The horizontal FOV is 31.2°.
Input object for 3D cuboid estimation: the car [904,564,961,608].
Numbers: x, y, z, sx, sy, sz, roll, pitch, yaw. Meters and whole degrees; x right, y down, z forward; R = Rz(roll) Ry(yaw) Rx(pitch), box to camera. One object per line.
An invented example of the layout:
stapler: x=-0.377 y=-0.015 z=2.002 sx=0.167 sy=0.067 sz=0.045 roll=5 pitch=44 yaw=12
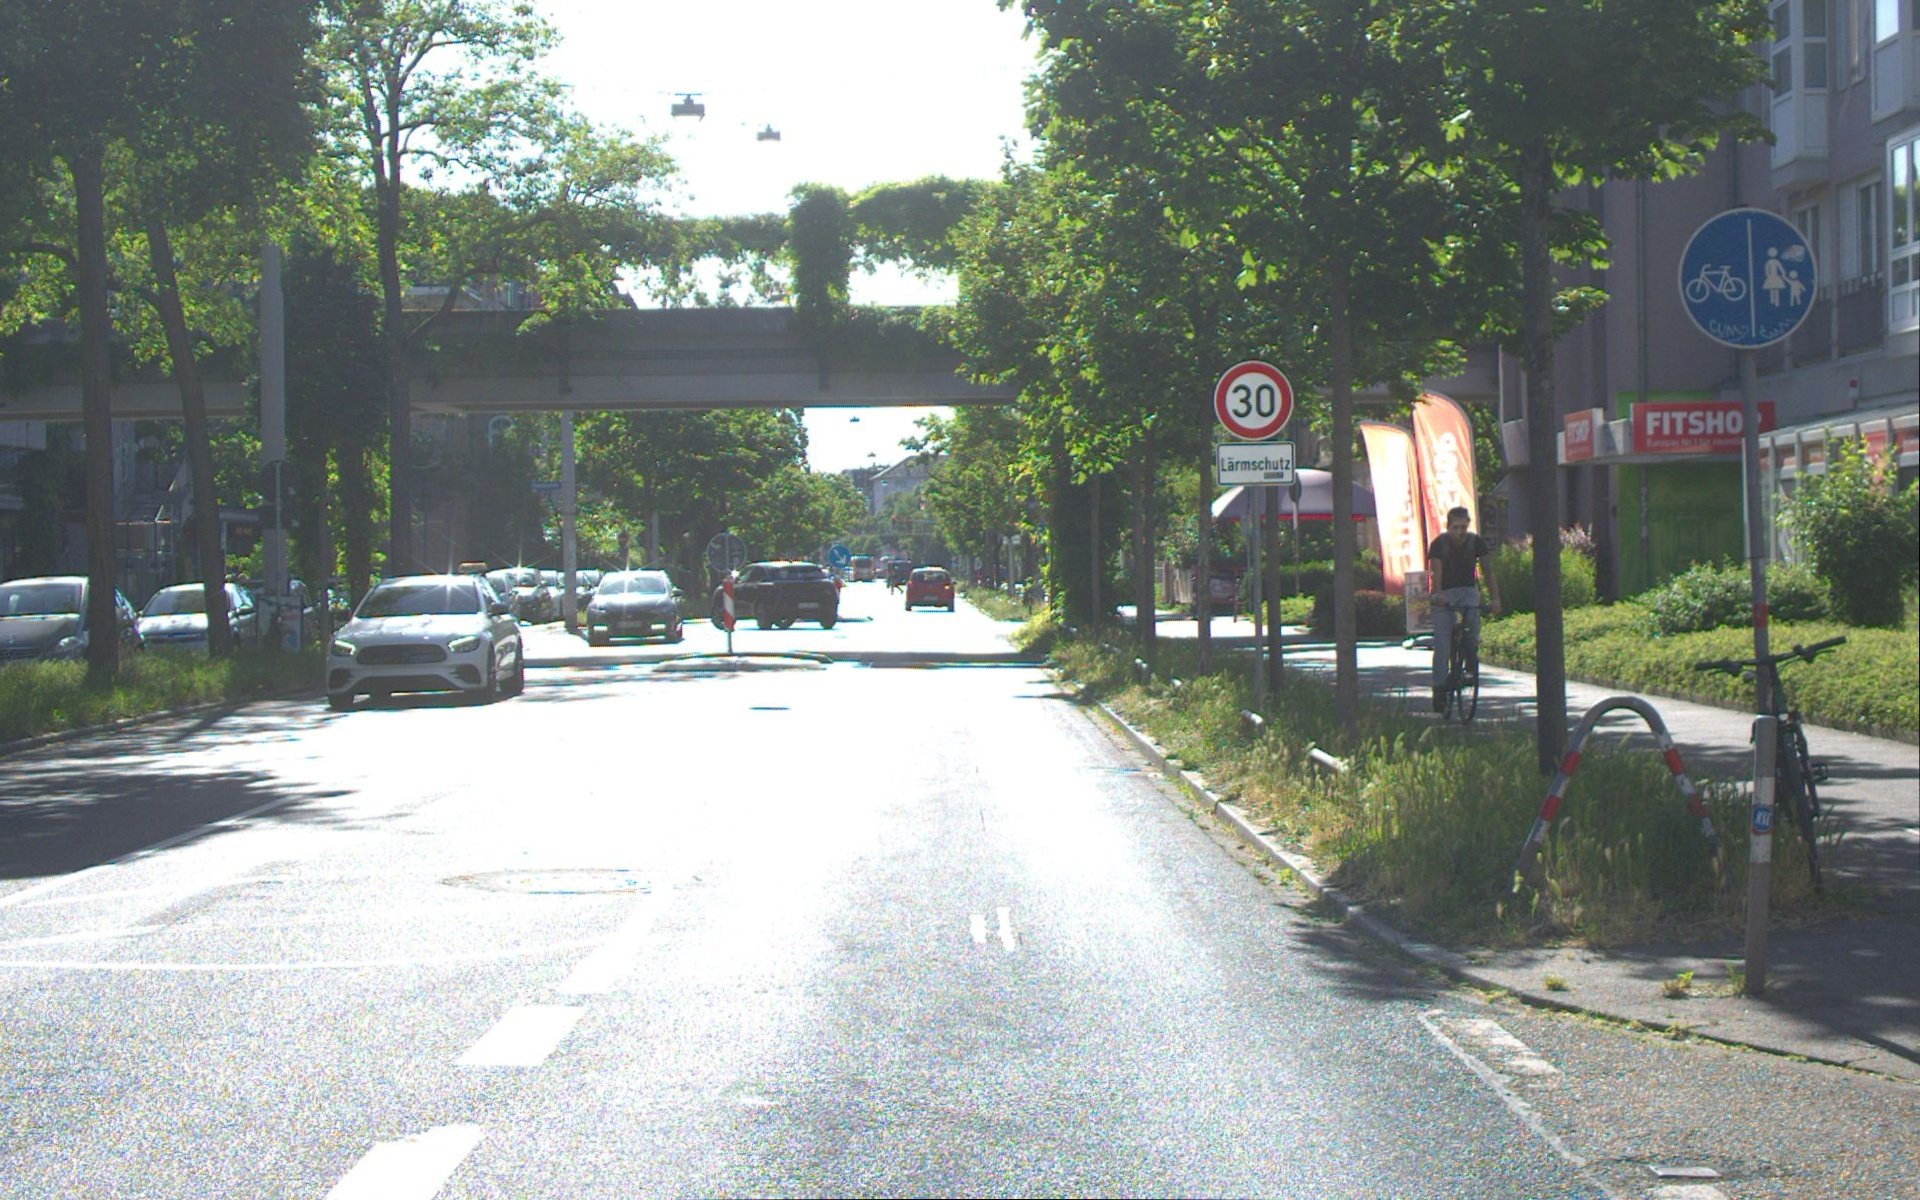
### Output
car: x=-0.947 y=-0.501 z=120.269 sx=1.856 sy=1.518 sz=4.318 roll=1 pitch=1 yaw=1

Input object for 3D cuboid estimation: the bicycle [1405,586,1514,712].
bicycle: x=4.185 y=0.402 z=28.891 sx=0.589 sy=1.024 sz=1.860 roll=0 pitch=0 yaw=-1

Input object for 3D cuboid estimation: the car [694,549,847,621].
car: x=-4.371 y=-0.354 z=78.564 sx=1.984 sy=1.595 sz=4.141 roll=0 pitch=1 yaw=-27

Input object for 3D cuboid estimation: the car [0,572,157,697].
car: x=-12.044 y=0.424 z=45.623 sx=1.856 sy=1.563 sz=3.871 roll=1 pitch=1 yaw=0

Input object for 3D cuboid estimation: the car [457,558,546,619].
car: x=-11.815 y=-0.320 z=88.820 sx=1.855 sy=1.518 sz=4.077 roll=1 pitch=1 yaw=-2

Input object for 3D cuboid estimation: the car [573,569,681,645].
car: x=-6.782 y=0.117 z=70.317 sx=1.855 sy=1.435 sz=4.319 roll=-2 pitch=1 yaw=-1

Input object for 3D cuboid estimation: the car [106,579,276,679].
car: x=-12.301 y=0.436 z=55.250 sx=1.855 sy=1.518 sz=4.319 roll=1 pitch=1 yaw=-2

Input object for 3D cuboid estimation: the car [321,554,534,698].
car: x=-6.275 y=0.270 z=40.999 sx=1.855 sy=1.563 sz=4.716 roll=-2 pitch=1 yaw=-1

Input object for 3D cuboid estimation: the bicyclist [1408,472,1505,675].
bicyclist: x=4.182 y=-0.220 z=29.005 sx=0.667 sy=1.689 sz=0.889 roll=0 pitch=0 yaw=-1

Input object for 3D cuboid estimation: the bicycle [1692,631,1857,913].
bicycle: x=3.472 y=0.687 z=14.564 sx=0.591 sy=1.062 sz=2.021 roll=0 pitch=1 yaw=16
